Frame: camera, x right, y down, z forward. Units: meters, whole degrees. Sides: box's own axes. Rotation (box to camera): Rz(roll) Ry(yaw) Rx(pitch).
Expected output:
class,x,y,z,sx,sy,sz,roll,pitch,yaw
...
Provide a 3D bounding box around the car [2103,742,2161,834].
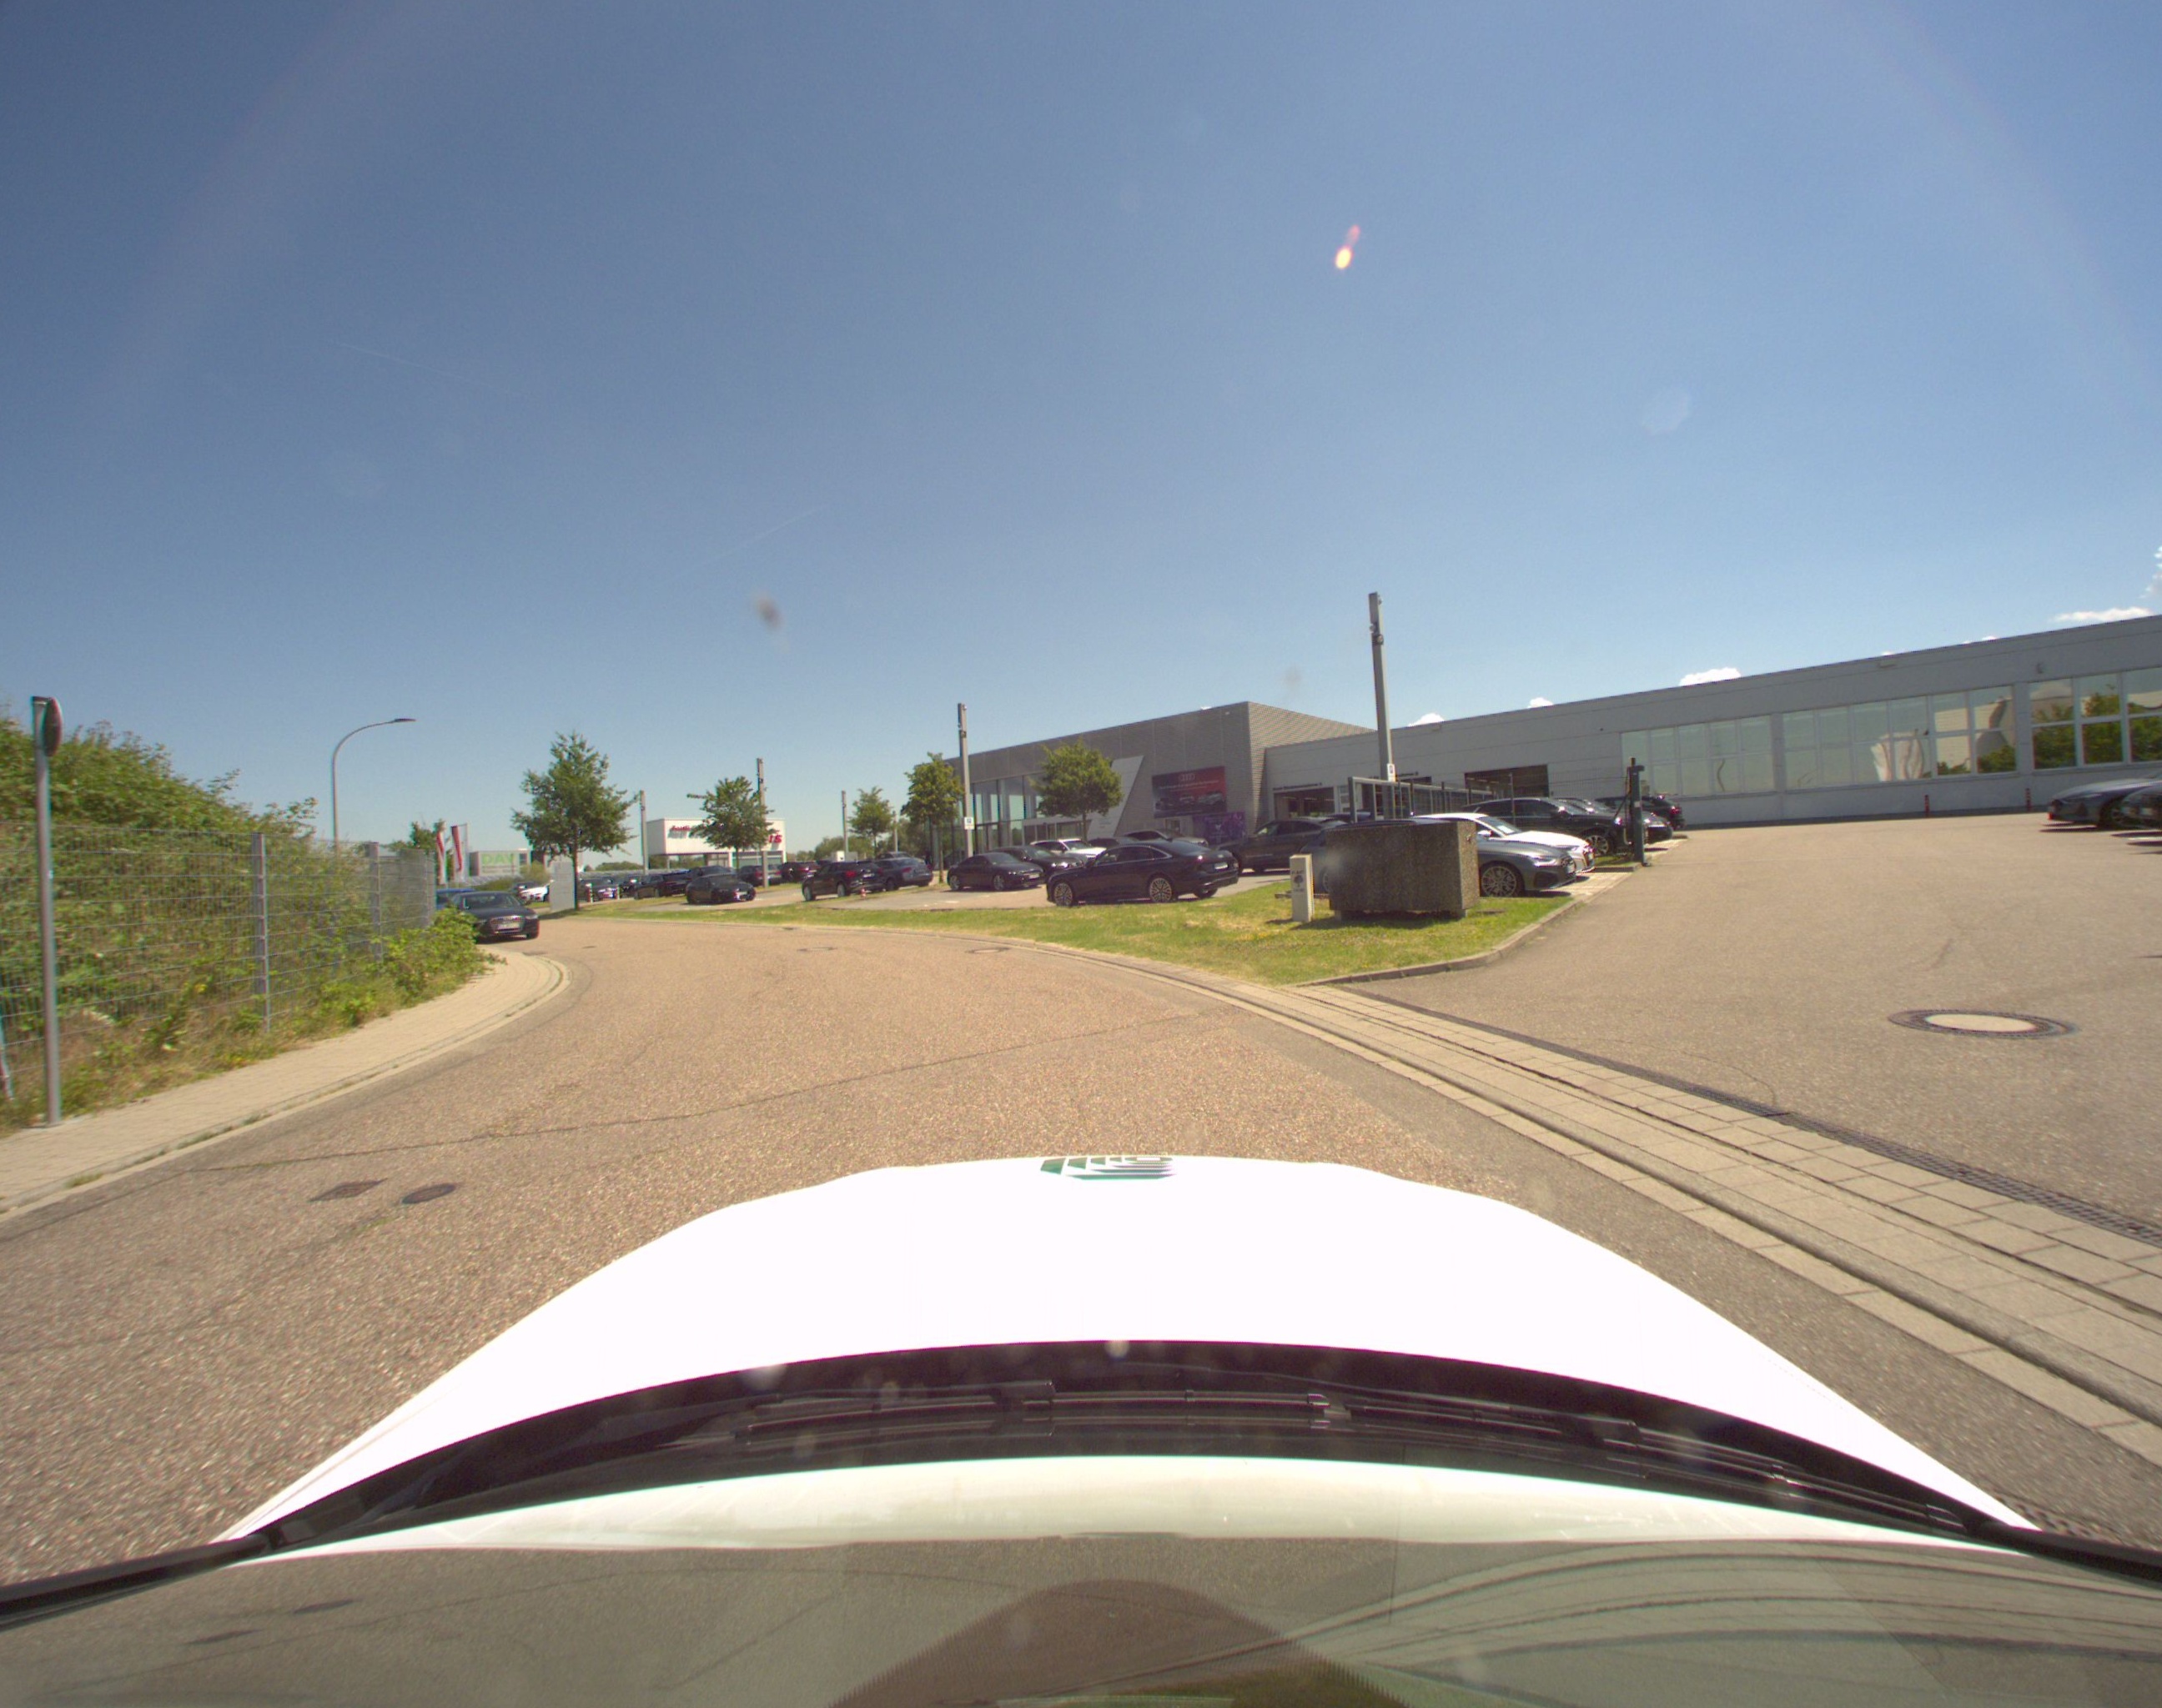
class,x,y,z,sx,sy,sz,roll,pitch,yaw
car,21.586,-1.351,14.046,4.566,1.630,1.980,-4,1,41

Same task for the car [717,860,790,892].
class,x,y,z,sx,sy,sz,roll,pitch,yaw
car,-19.693,1.325,48.881,4.922,1.456,1.980,-6,-1,42

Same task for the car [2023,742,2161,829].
class,x,y,z,sx,sy,sz,roll,pitch,yaw
car,22.751,-1.518,16.452,4.566,1.630,1.980,-4,1,41

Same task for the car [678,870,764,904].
class,x,y,z,sx,sy,sz,roll,pitch,yaw
car,-17.666,1.618,39.908,4.660,1.366,1.981,-2,4,42

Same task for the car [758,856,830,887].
class,x,y,z,sx,sy,sz,roll,pitch,yaw
car,-17.894,1.094,50.627,4.922,1.456,1.980,-6,-1,42

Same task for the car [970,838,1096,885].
class,x,y,z,sx,sy,sz,roll,pitch,yaw
car,-1.992,0.330,32.699,4.941,1.553,1.980,-4,1,41

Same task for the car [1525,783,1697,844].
class,x,y,z,sx,sy,sz,roll,pitch,yaw
car,17.835,-1.334,27.510,4.566,1.630,1.980,-4,1,41

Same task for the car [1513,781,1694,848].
class,x,y,z,sx,sy,sz,roll,pitch,yaw
car,15.843,-1.186,24.816,4.321,1.630,1.980,-4,1,41

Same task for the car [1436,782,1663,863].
class,x,y,z,sx,sy,sz,roll,pitch,yaw
car,11.615,-0.747,20.368,4.566,1.630,1.980,-4,1,41

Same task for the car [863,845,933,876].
class,x,y,z,sx,sy,sz,roll,pitch,yaw
car,-12.355,0.436,54.748,4.922,1.620,1.980,-6,-1,42

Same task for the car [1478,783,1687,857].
class,x,y,z,sx,sy,sz,roll,pitch,yaw
car,13.710,-0.909,22.421,4.566,1.630,1.980,-4,1,41

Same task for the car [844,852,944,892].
class,x,y,z,sx,sy,sz,roll,pitch,yaw
car,-8.023,0.786,34.794,4.173,1.366,1.981,-4,3,41

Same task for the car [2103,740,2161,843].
class,x,y,z,sx,sy,sz,roll,pitch,yaw
car,19.500,-1.164,12.385,4.566,1.630,1.980,-4,1,41

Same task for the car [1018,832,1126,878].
class,x,y,z,sx,sy,sz,roll,pitch,yaw
car,-0.435,0.068,34.812,4.233,1.613,1.980,-4,1,41

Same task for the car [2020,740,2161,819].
class,x,y,z,sx,sy,sz,roll,pitch,yaw
car,25.242,-1.823,18.653,4.566,1.630,1.980,-4,1,41

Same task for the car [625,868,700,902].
class,x,y,z,sx,sy,sz,roll,pitch,yaw
car,-23.277,1.722,45.230,4.922,1.456,1.980,-6,-1,42

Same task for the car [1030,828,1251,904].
class,x,y,z,sx,sy,sz,roll,pitch,yaw
car,1.282,0.319,19.228,4.959,1.454,1.898,-3,2,41

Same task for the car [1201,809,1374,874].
class,x,y,z,sx,sy,sz,roll,pitch,yaw
car,6.246,-0.350,24.931,4.724,1.643,1.842,-4,0,41

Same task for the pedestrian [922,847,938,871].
class,x,y,z,sx,sy,sz,roll,pitch,yaw
pedestrian,-11.366,0.375,61.145,0.777,1.776,0.736,-4,0,-43

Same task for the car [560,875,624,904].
class,x,y,z,sx,sy,sz,roll,pitch,yaw
car,-31.817,2.332,52.974,5.172,1.514,2.045,-4,2,42

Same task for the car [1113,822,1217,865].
class,x,y,z,sx,sy,sz,roll,pitch,yaw
car,4.070,-0.488,39.831,4.668,1.739,1.980,-4,1,41

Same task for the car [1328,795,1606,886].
class,x,y,z,sx,sy,sz,roll,pitch,yaw
car,7.962,-0.228,17.121,4.881,1.528,1.837,-4,1,41

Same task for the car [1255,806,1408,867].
class,x,y,z,sx,sy,sz,roll,pitch,yaw
car,8.162,-0.538,26.769,4.360,1.694,1.842,-4,0,41

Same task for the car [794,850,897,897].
class,x,y,z,sx,sy,sz,roll,pitch,yaw
car,-9.631,0.815,33.163,4.173,1.571,1.906,-4,2,41

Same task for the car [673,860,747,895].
class,x,y,z,sx,sy,sz,roll,pitch,yaw
car,-21.597,1.400,47.299,4.922,1.598,1.980,-6,-1,42

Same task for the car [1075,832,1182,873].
class,x,y,z,sx,sy,sz,roll,pitch,yaw
car,2.070,-0.049,36.159,4.316,1.476,1.980,-4,1,41

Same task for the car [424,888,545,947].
class,x,y,z,sx,sy,sz,roll,pitch,yaw
car,-17.579,1.835,23.924,4.522,1.454,1.842,-4,0,41

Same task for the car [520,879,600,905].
class,x,y,z,sx,sy,sz,roll,pitch,yaw
car,-38.664,2.796,60.533,2.005,1.457,4.573,-4,1,40

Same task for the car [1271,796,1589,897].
class,x,y,z,sx,sy,sz,roll,pitch,yaw
car,6.192,-0.089,14.843,4.881,1.467,1.980,-4,1,41

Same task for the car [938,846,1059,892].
class,x,y,z,sx,sy,sz,roll,pitch,yaw
car,-3.114,0.571,30.233,4.256,1.374,1.980,-4,1,41
